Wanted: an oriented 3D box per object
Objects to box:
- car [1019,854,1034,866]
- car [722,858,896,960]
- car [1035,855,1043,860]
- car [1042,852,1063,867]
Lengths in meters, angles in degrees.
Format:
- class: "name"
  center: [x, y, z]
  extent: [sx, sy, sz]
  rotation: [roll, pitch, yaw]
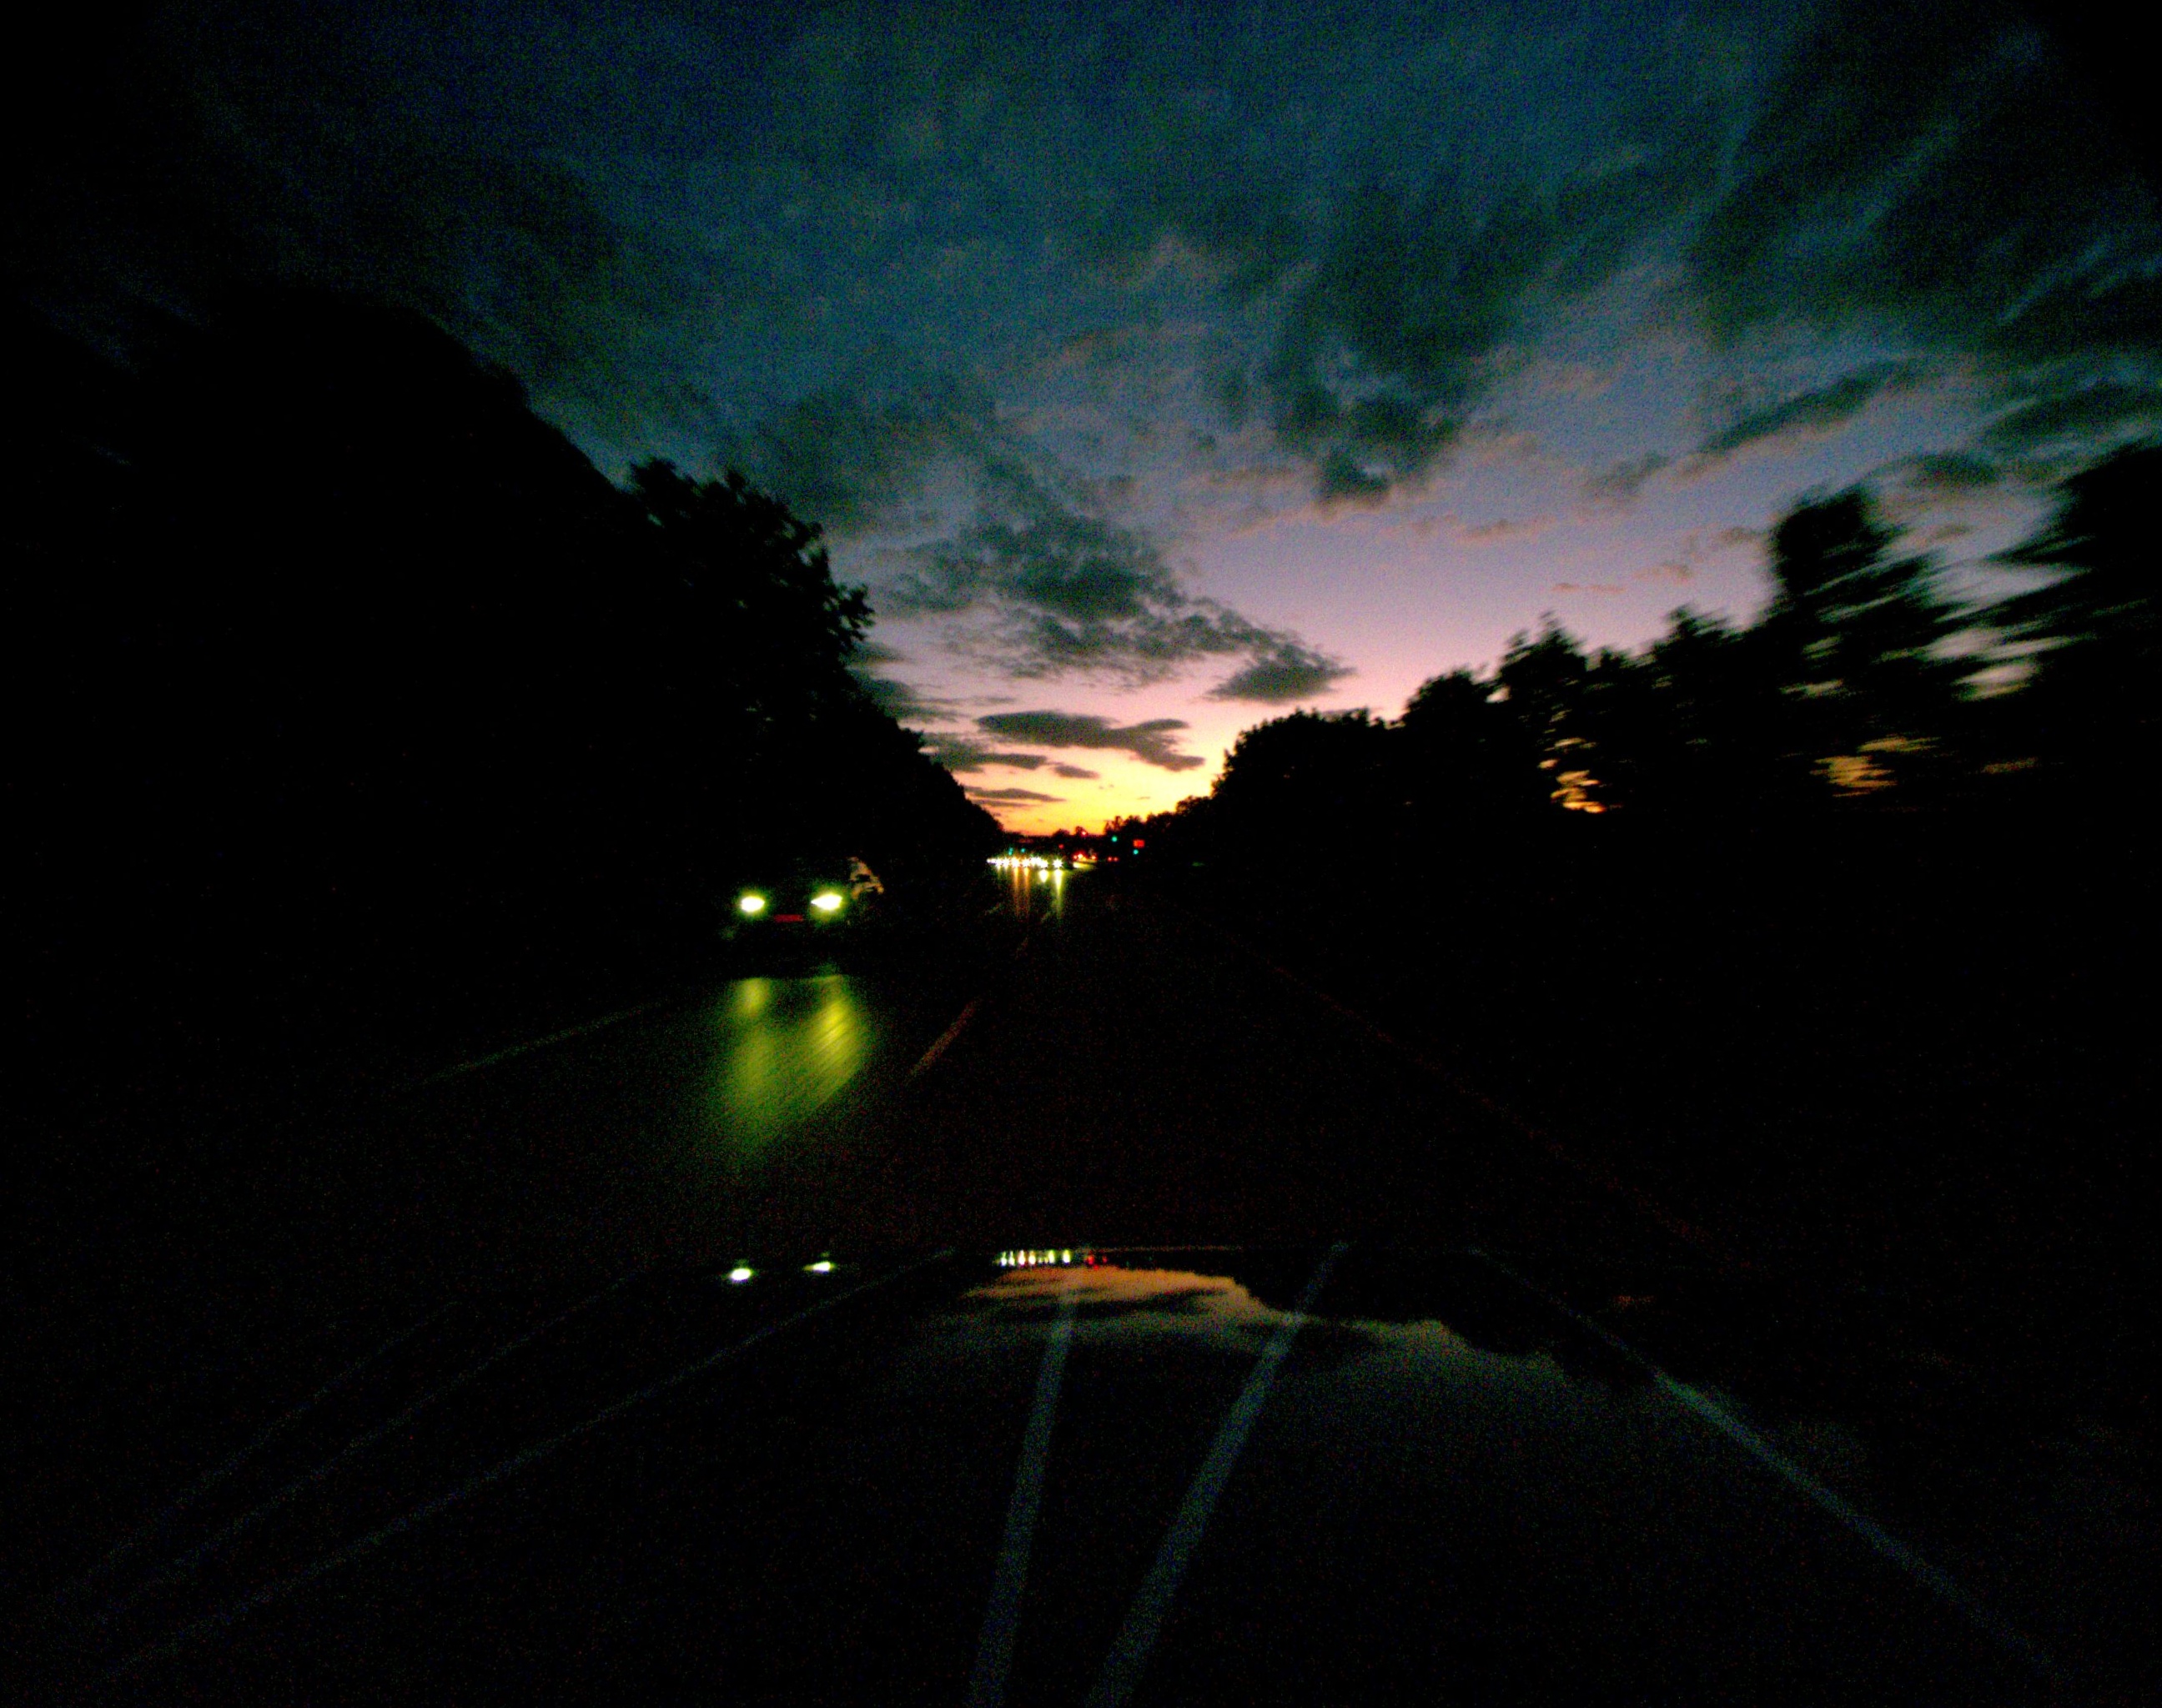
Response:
- class: "car"
  center: [-7.186, 0.801, 99.982]
  extent: [1.624, 1.460, 3.871]
  rotation: [-2, 0, 1]
- class: "car"
  center: [-5.104, 0.928, 15.027]
  extent: [1.999, 1.600, 4.709]
  rotation: [-2, 0, -4]
- class: "car"
  center: [-12.023, 0.923, 218.796]
  extent: [1.999, 1.423, 4.501]
  rotation: [1, 0, 0]
- class: "car"
  center: [-2.939, 0.581, 79.319]
  extent: [1.901, 1.472, 4.514]
  rotation: [-1, 0, 0]
